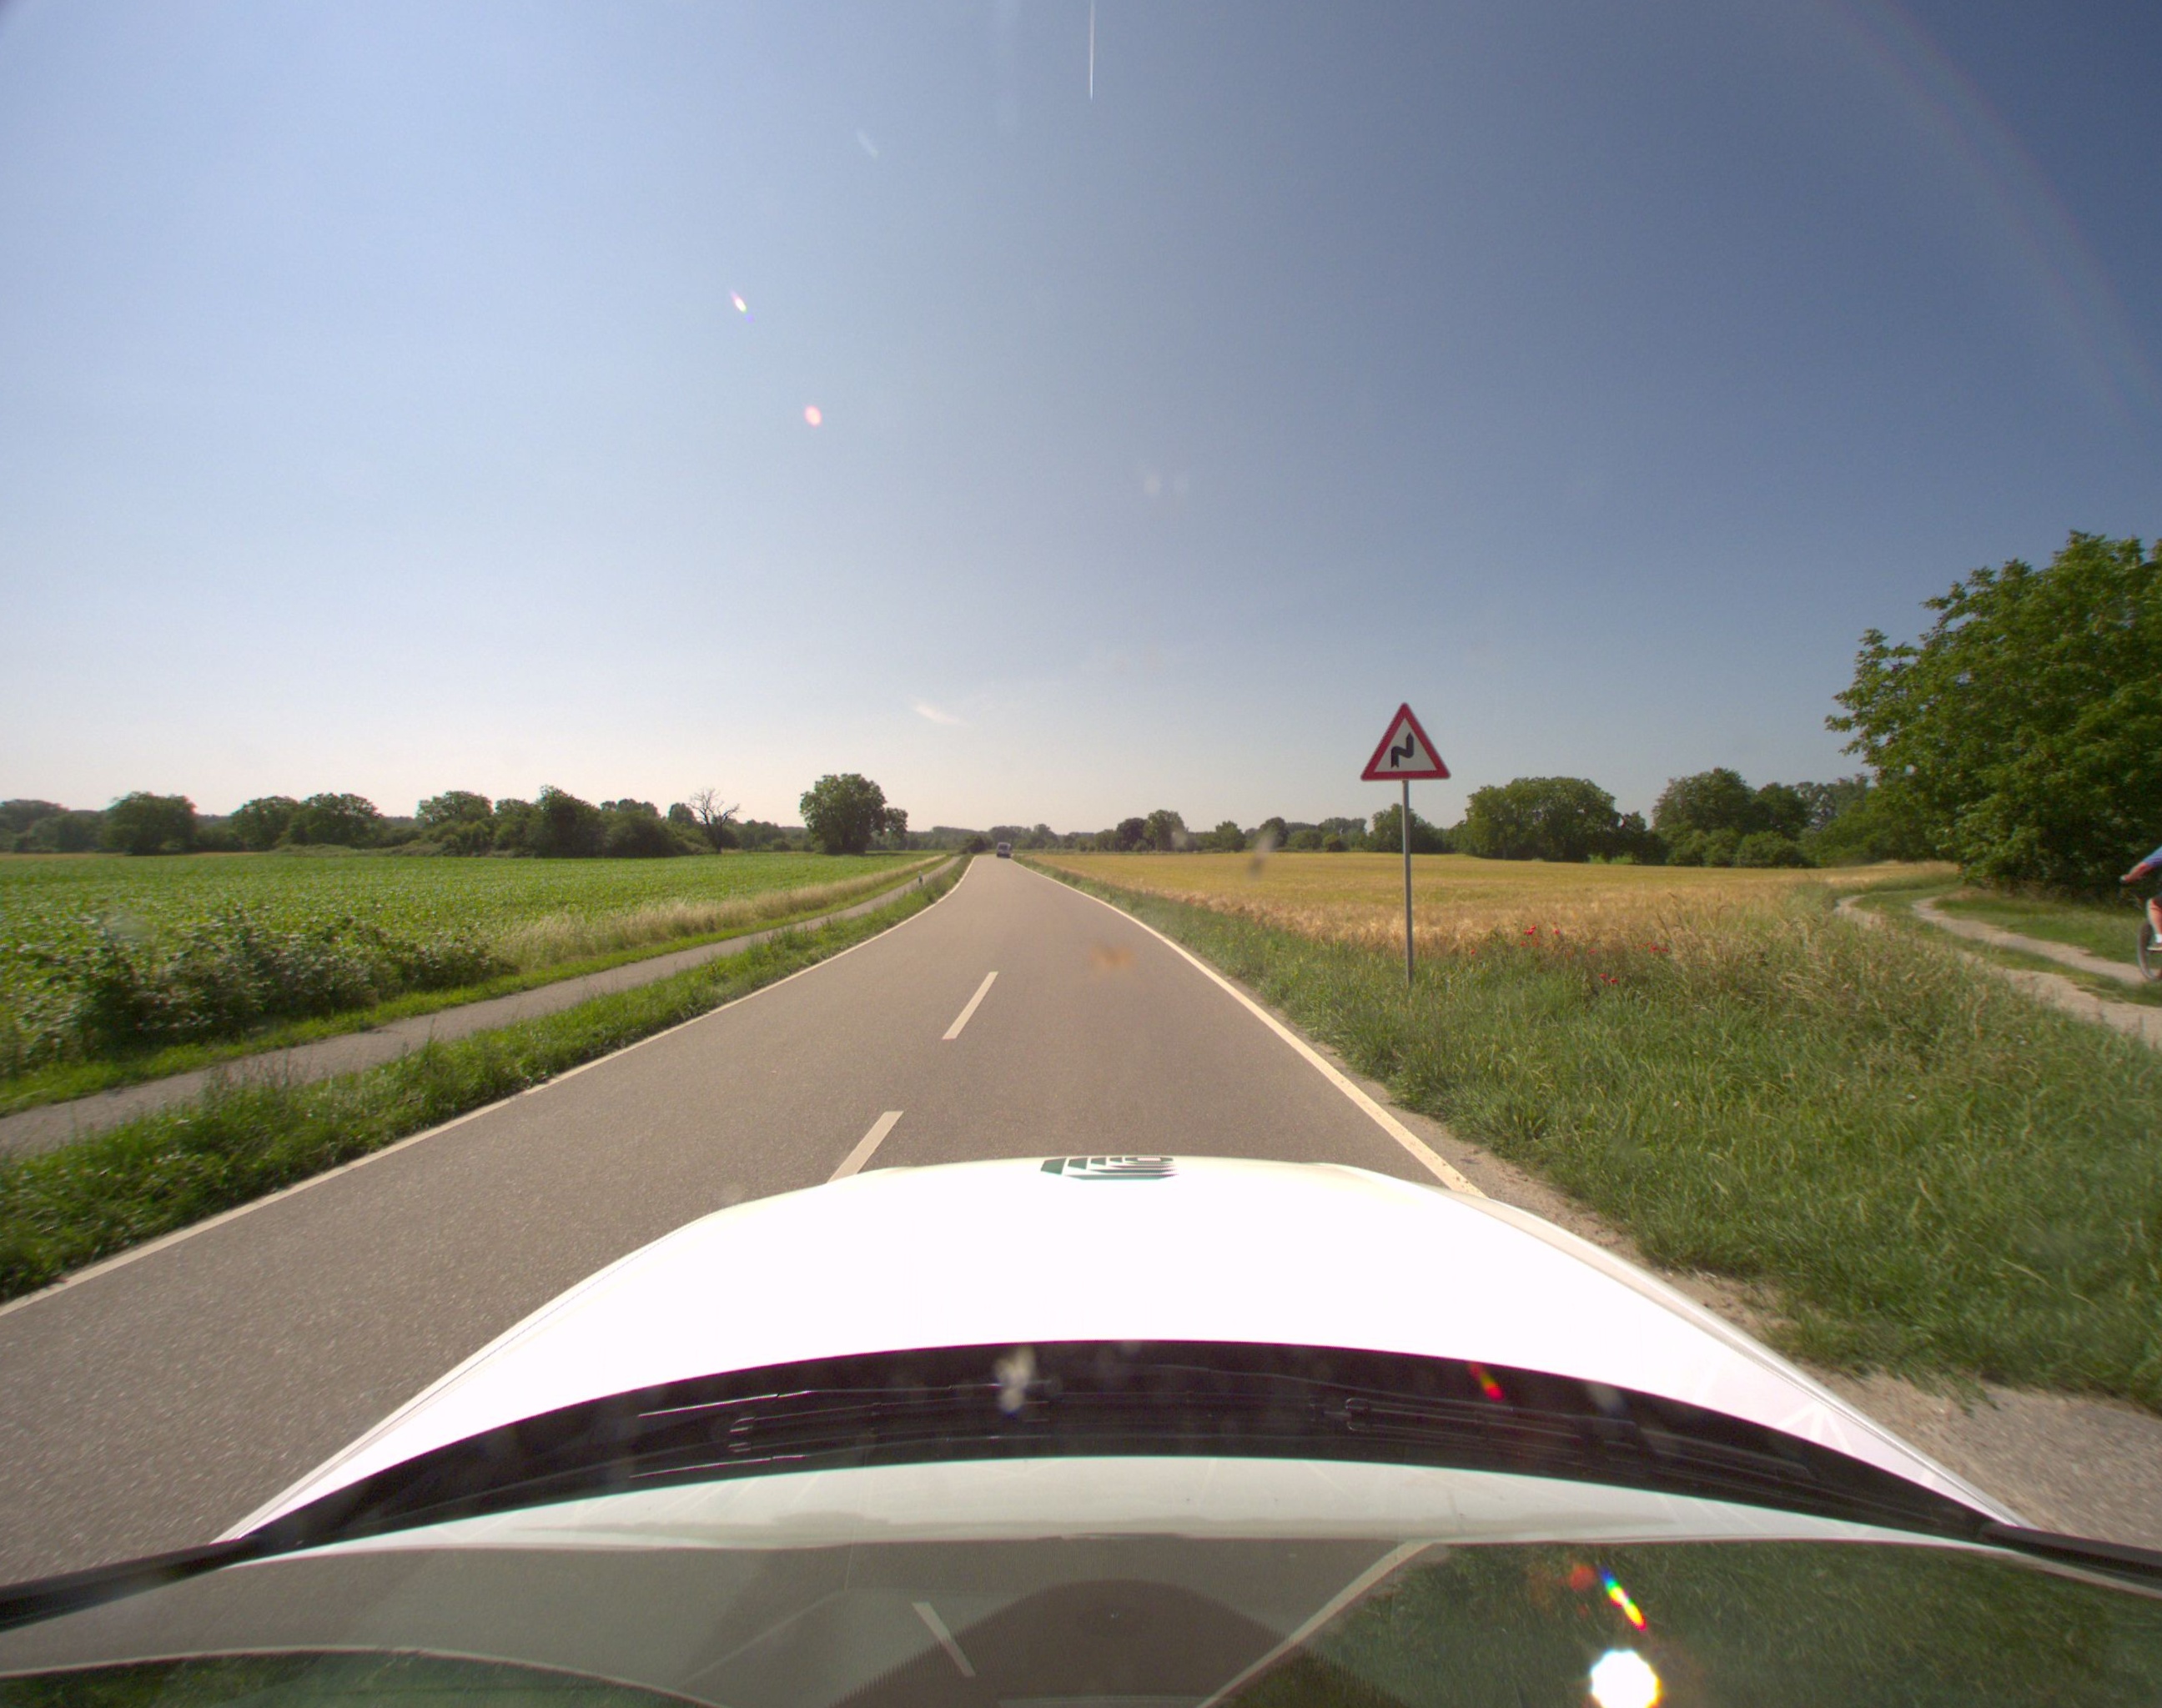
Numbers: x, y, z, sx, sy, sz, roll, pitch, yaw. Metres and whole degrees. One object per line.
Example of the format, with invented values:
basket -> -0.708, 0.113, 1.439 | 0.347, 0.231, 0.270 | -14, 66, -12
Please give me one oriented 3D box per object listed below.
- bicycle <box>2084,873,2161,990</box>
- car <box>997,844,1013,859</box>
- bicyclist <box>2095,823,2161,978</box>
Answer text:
bicycle -> 11.300, 0.780, 8.530 | 0.515, 1.115, 1.780 | 0, 0, 35
car -> -12.649, -0.485, 135.676 | 2.097, 2.367, 5.685 | 0, 1, -1
bicyclist -> 11.285, 0.469, 8.514 | 0.666, 1.574, 0.740 | 0, 0, 35
